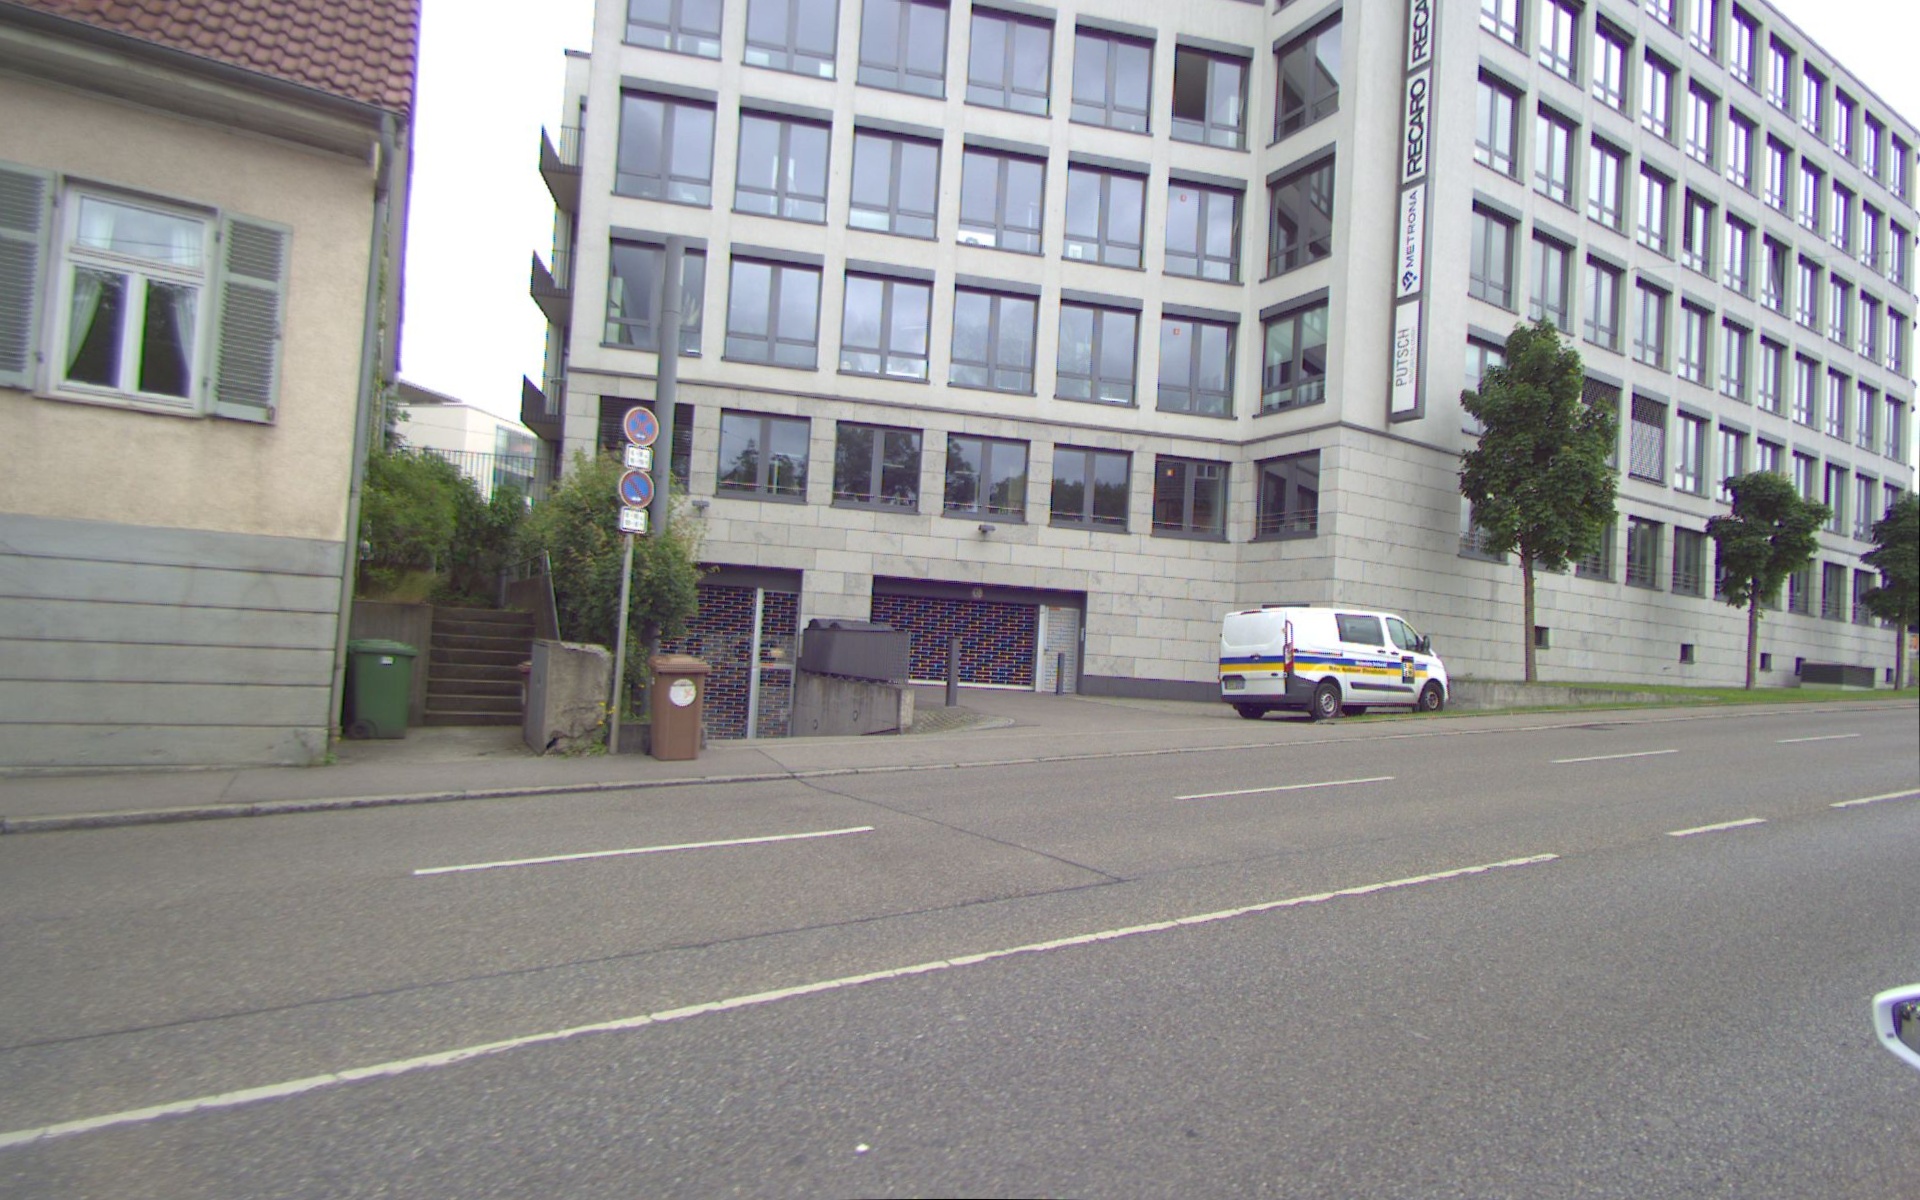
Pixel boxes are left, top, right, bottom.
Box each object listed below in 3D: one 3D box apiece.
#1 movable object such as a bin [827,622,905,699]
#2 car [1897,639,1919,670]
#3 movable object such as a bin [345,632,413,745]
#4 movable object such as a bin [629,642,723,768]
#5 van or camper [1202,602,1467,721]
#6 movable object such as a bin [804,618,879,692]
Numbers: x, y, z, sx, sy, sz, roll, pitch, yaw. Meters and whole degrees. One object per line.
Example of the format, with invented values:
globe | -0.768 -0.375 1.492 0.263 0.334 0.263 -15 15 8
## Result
movable object such as a bin | -2.019 1.282 21.530 1.275 1.517 1.077 2 2 -34
car | 50.631 2.844 51.112 4.356 1.483 1.780 2 1 -5
movable object such as a bin | -6.587 0.981 11.393 0.599 1.205 0.572 1 1 -36
movable object such as a bin | -3.029 1.082 10.683 0.692 1.205 0.804 1 3 -36
van or camper | 7.088 1.150 18.930 4.814 1.993 2.052 2 -4 -29
movable object such as a bin | -2.648 1.212 22.443 1.275 1.517 1.077 2 2 -34
